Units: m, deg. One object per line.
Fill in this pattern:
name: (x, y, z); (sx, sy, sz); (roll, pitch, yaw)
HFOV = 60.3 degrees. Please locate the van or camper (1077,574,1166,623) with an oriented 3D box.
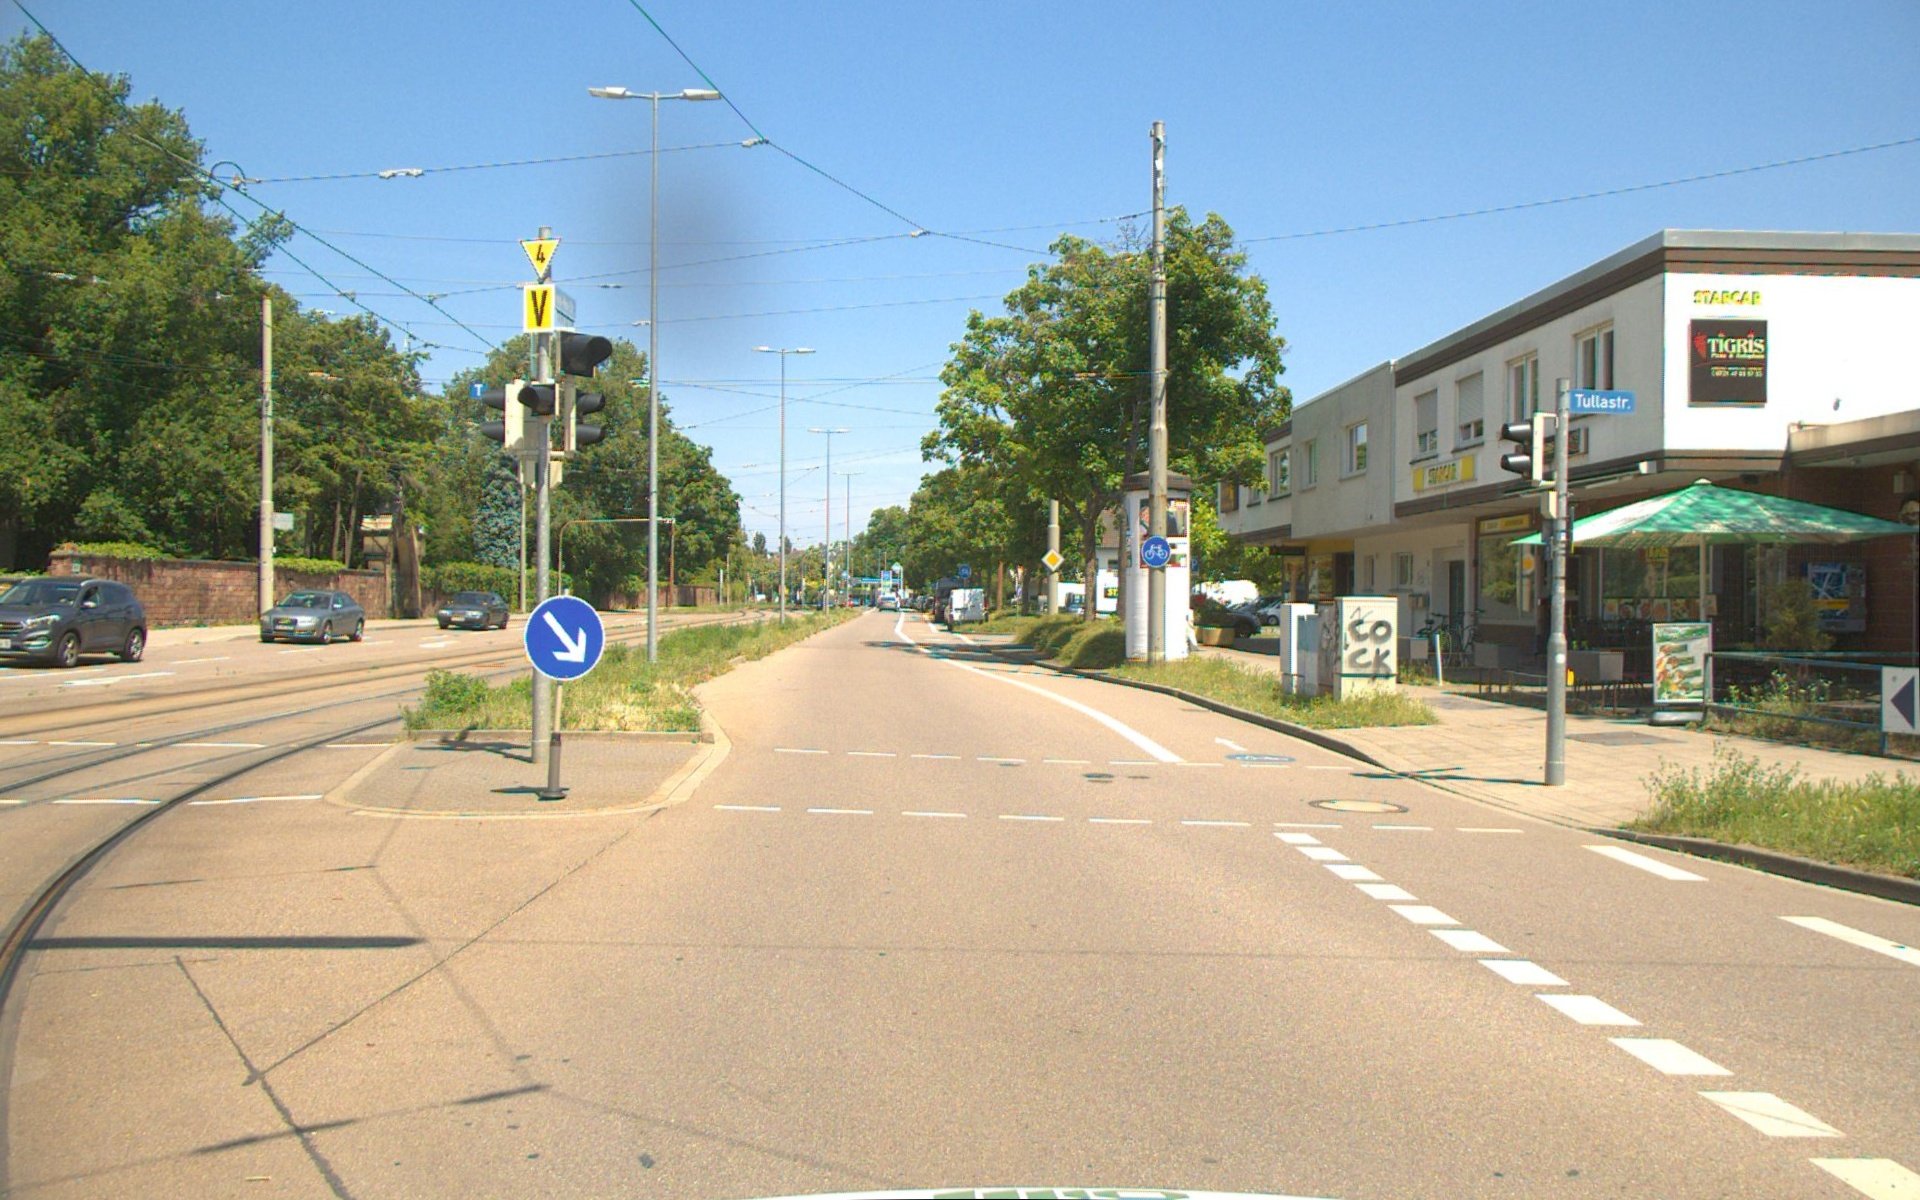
van or camper: (9.000, -0.083, 92.245); (4.662, 2.717, 2.134); (0, 0, -4)

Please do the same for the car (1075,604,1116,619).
car: (8.871, 0.731, 108.386); (2.535, 0.979, 1.149); (0, 0, -1)

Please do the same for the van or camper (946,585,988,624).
van or camper: (0.310, 0.218, 78.856); (1.883, 1.803, 3.999); (0, 0, -1)

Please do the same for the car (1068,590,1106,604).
car: (8.673, -0.205, 113.248); (2.535, 0.979, 1.149); (0, 1, -1)

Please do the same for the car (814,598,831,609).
car: (-13.420, 0.363, 161.150); (1.462, 1.064, 3.578); (0, 0, -2)

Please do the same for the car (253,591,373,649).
car: (-17.880, 0.514, 45.904); (1.607, 1.445, 4.168); (2, 1, 0)

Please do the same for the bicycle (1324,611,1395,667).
bicycle: (7.993, 0.762, 33.240); (1.012, 1.032, 2.639); (0, 1, 5)

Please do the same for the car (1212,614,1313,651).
car: (11.618, 1.229, 63.590); (3.539, 1.374, 1.488); (0, 0, -8)

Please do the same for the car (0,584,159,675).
car: (-17.453, 0.528, 31.984); (1.783, 1.631, 4.519); (0, 0, -1)

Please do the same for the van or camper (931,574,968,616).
van or camper: (-0.672, -0.325, 101.315); (1.954, 2.507, 3.996); (0, 0, -4)

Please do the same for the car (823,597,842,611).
car: (-9.707, 0.300, 125.967); (1.267, 1.073, 2.596); (0, 0, -7)

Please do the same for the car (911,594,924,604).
car: (-5.445, -0.146, 213.604); (1.494, 1.319, 3.489); (0, 1, -4)

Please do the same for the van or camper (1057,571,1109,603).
van or camper: (8.642, -0.923, 116.619); (3.487, 2.183, 1.601); (0, 1, -4)

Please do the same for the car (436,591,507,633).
car: (-18.386, 0.432, 62.429); (1.608, 1.424, 4.114); (2, 1, -3)

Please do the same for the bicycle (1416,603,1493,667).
bicycle: (9.791, 0.668, 32.854); (0.968, 1.184, 2.639); (0, 1, 5)

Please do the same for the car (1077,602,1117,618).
car: (8.719, 0.610, 105.265); (2.533, 0.979, 1.149); (0, 1, 3)

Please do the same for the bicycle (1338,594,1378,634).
bicycle: (11.342, 0.386, 47.171); (0.497, 1.084, 1.862); (2, 0, -5)

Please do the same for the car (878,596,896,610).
car: (-7.154, 0.254, 161.922); (1.604, 1.375, 3.838); (0, 0, -4)
